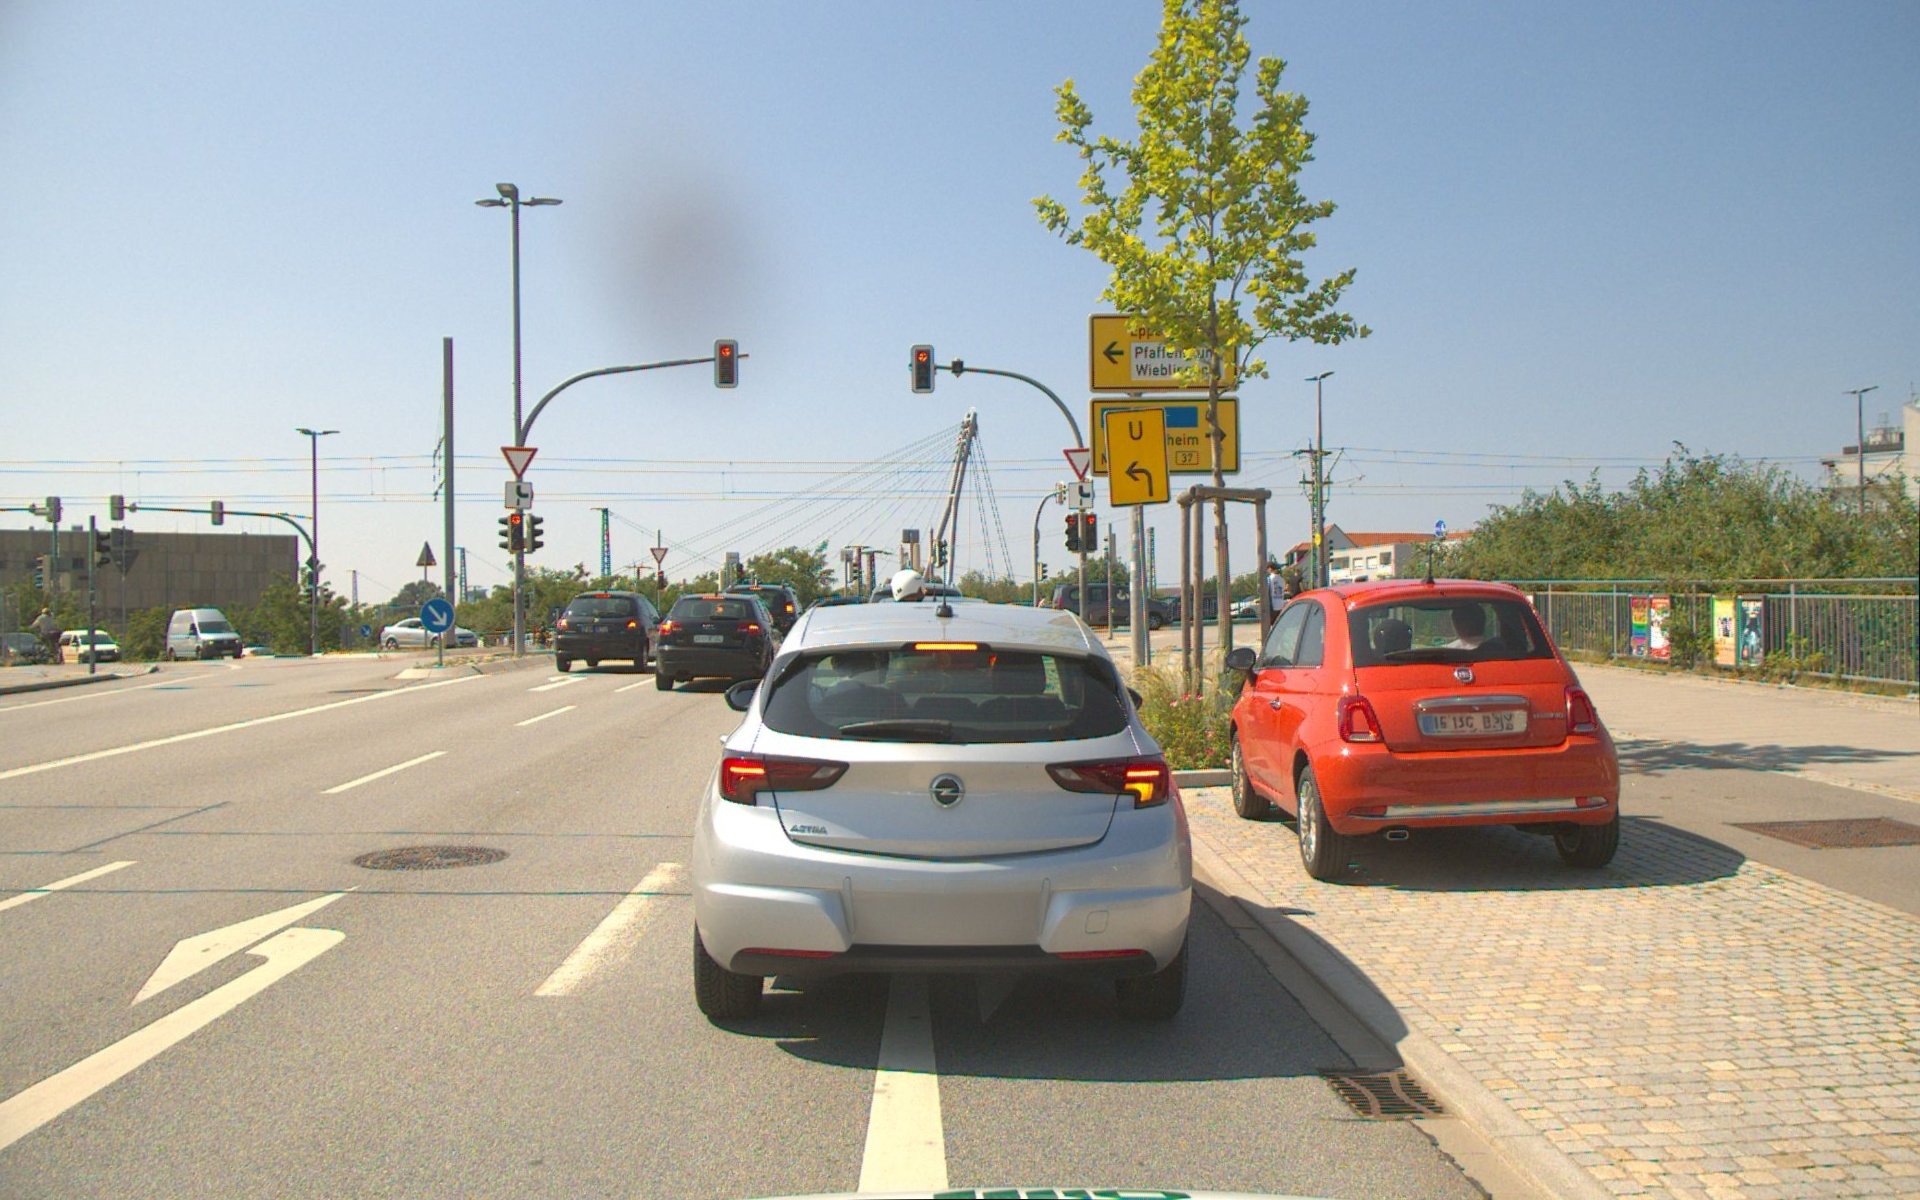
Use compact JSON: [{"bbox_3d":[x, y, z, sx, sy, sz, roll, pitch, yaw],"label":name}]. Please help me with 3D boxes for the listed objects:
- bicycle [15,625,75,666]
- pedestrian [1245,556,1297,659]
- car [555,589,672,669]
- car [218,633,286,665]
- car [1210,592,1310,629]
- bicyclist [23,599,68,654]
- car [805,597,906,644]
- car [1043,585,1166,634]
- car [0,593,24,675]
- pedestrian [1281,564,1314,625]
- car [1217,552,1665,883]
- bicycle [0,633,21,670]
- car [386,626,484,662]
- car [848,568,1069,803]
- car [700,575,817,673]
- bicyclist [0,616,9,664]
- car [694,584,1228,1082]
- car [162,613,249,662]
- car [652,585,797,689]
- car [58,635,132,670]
[{"bbox_3d":[-27.146,1.331,49.052,2.319,1.147,0.674,1,-1,37],"label":"bicycle"},{"bbox_3d":[5.738,0.138,30.548,0.743,1.862,0.884,1,-1,-1],"label":"pedestrian"},{"bbox_3d":[-6.393,0.531,30.817,1.555,1.419,3.338,0,-1,-2],"label":"car"},{"bbox_3d":[-40.687,2.800,95.024,4.129,1.674,1.824,1,-1,39],"label":"car"},{"bbox_3d":[14.067,0.494,77.514,4.180,1.703,1.990,1,-1,-18],"label":"car"},{"bbox_3d":[-27.140,0.793,49.080,0.929,1.596,0.819,0,-1,36],"label":"bicyclist"},{"bbox_3d":[-3.964,0.777,63.377,3.767,1.713,1.664,1,-1,-1],"label":"car"},{"bbox_3d":[5.550,0.375,63.873,4.459,1.815,1.998,1,-1,-5],"label":"car"},{"bbox_3d":[-25.500,0.847,43.221,1.651,2.049,3.963,2,-1,-28],"label":"car"},{"bbox_3d":[10.556,-0.166,51.739,0.741,1.896,0.737,0,-1,43],"label":"pedestrian"},{"bbox_3d":[2.657,0.550,10.055,1.635,1.566,3.917,-2,1,1],"label":"car"},{"bbox_3d":[-32.401,1.766,55.152,2.477,1.153,0.727,-3,2,31],"label":"bicycle"},{"bbox_3d":[-21.263,1.784,66.946,3.633,1.356,1.768,1,-1,30],"label":"car"},{"bbox_3d":[-0.059,0.661,14.143,1.602,1.703,3.743,1,-1,-2],"label":"car"},{"bbox_3d":[-3.782,0.454,31.615,1.767,1.650,3.915,-3,-1,-2],"label":"car"},{"bbox_3d":[-32.416,1.336,55.176,0.807,1.587,0.861,1,-1,31],"label":"bicyclist"},{"bbox_3d":[-0.044,0.733,7.298,1.656,1.546,4.269,0,0,-1],"label":"car"},{"bbox_3d":[-35.659,1.760,78.119,4.749,2.156,1.788,1,-1,40],"label":"car"},{"bbox_3d":[-3.569,0.550,25.678,1.671,1.437,3.999,2,-1,-1],"label":"car"},{"bbox_3d":[-41.740,2.511,79.781,3.423,1.550,1.635,1,-1,31],"label":"car"}]
